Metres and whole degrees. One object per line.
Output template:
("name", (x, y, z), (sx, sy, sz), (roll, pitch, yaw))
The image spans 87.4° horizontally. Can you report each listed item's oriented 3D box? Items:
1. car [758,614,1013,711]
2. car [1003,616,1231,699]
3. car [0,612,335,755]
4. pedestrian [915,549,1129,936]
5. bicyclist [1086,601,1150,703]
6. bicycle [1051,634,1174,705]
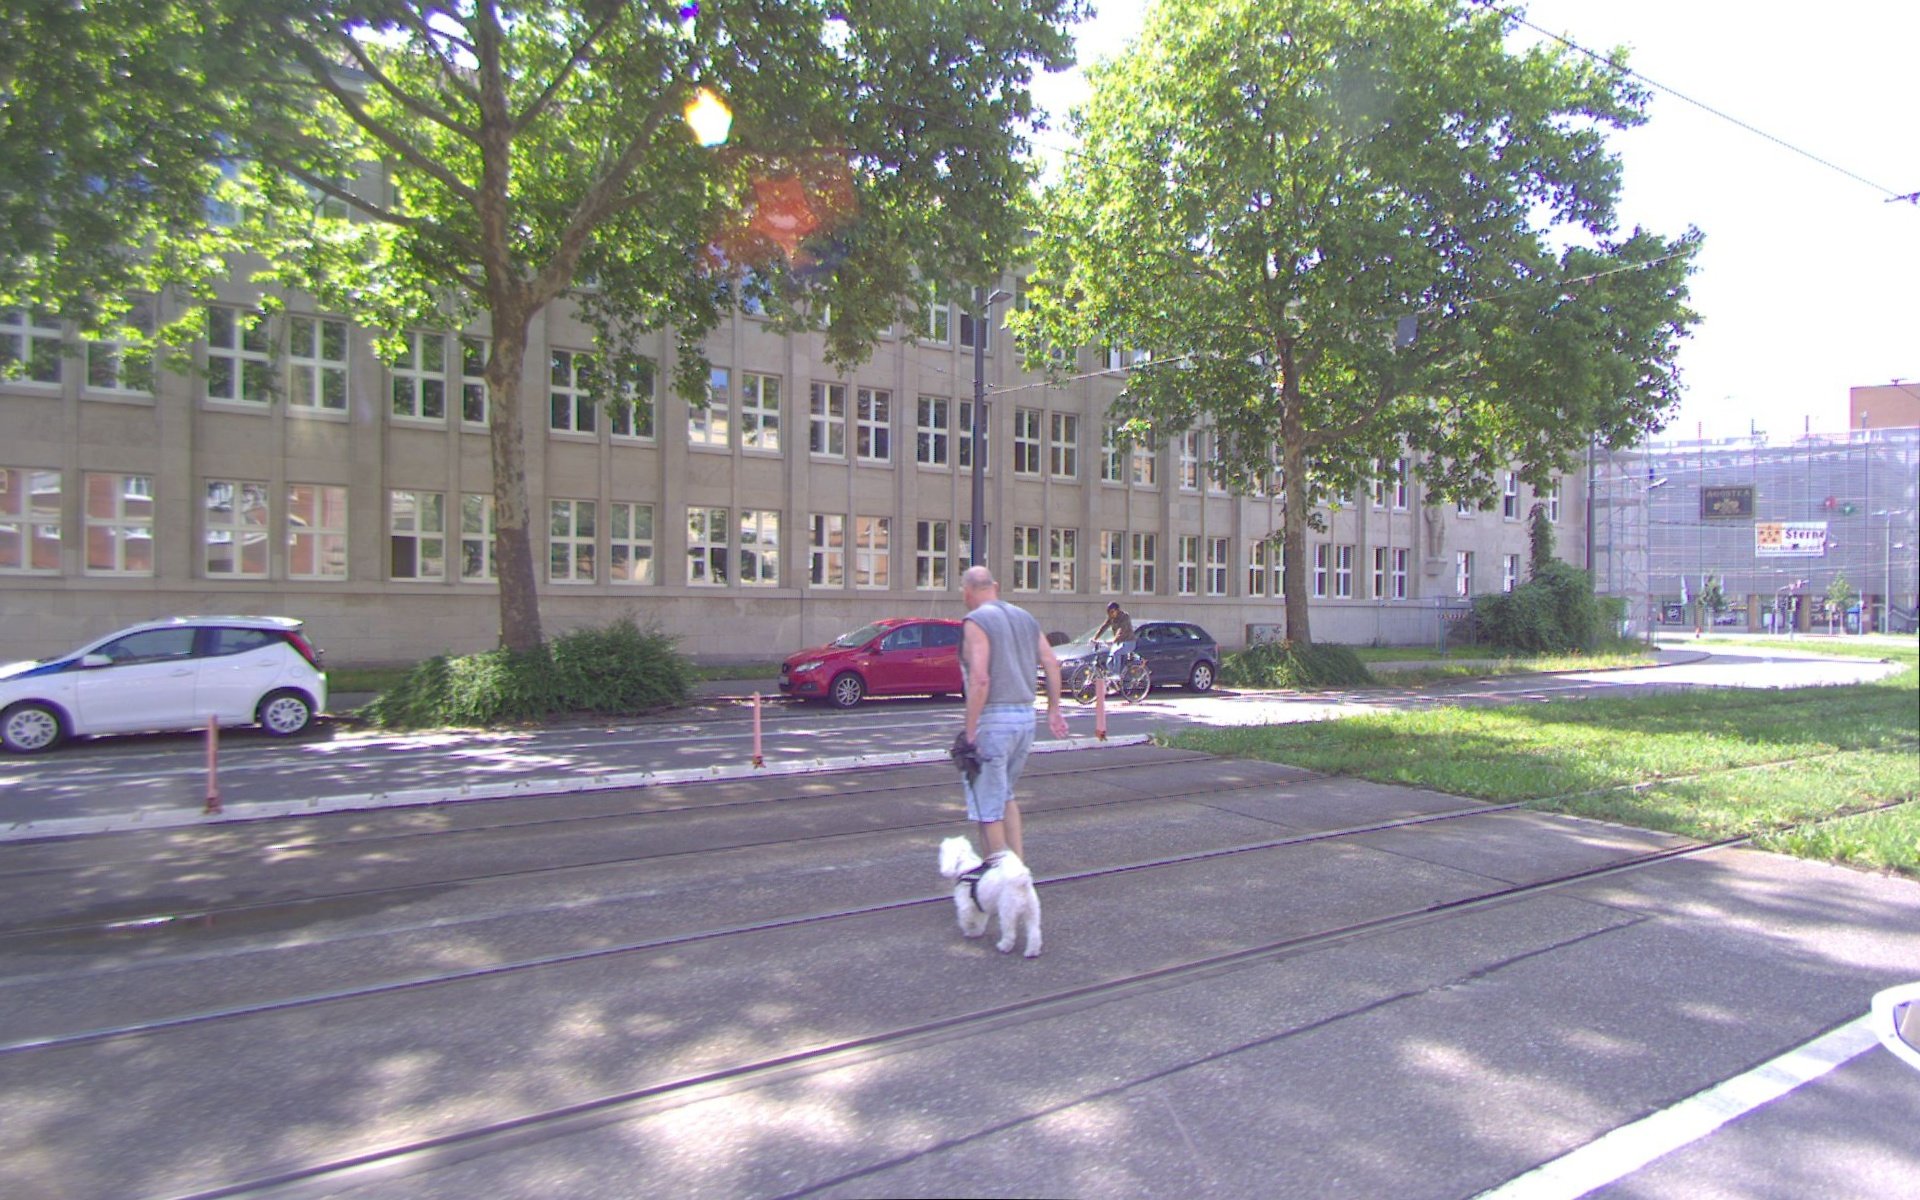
("car", (-1.278, 0.994, 17.441), (4.002, 1.439, 1.917), (0, 1, -30))
("car", (3.146, 1.061, 19.906), (4.269, 1.387, 1.915), (0, 1, -32))
("car", (-9.685, 0.917, 12.279), (3.452, 1.473, 1.737), (0, 1, -32))
("pedestrian", (0.299, 0.637, 5.000), (0.697, 1.727, 0.774), (1, 1, -39))
("bicyclist", (2.760, 0.895, 17.598), (0.776, 1.727, 0.756), (1, 1, -37))
("bicycle", (2.689, 1.181, 17.559), (2.256, 1.125, 0.784), (1, 0, -38))
